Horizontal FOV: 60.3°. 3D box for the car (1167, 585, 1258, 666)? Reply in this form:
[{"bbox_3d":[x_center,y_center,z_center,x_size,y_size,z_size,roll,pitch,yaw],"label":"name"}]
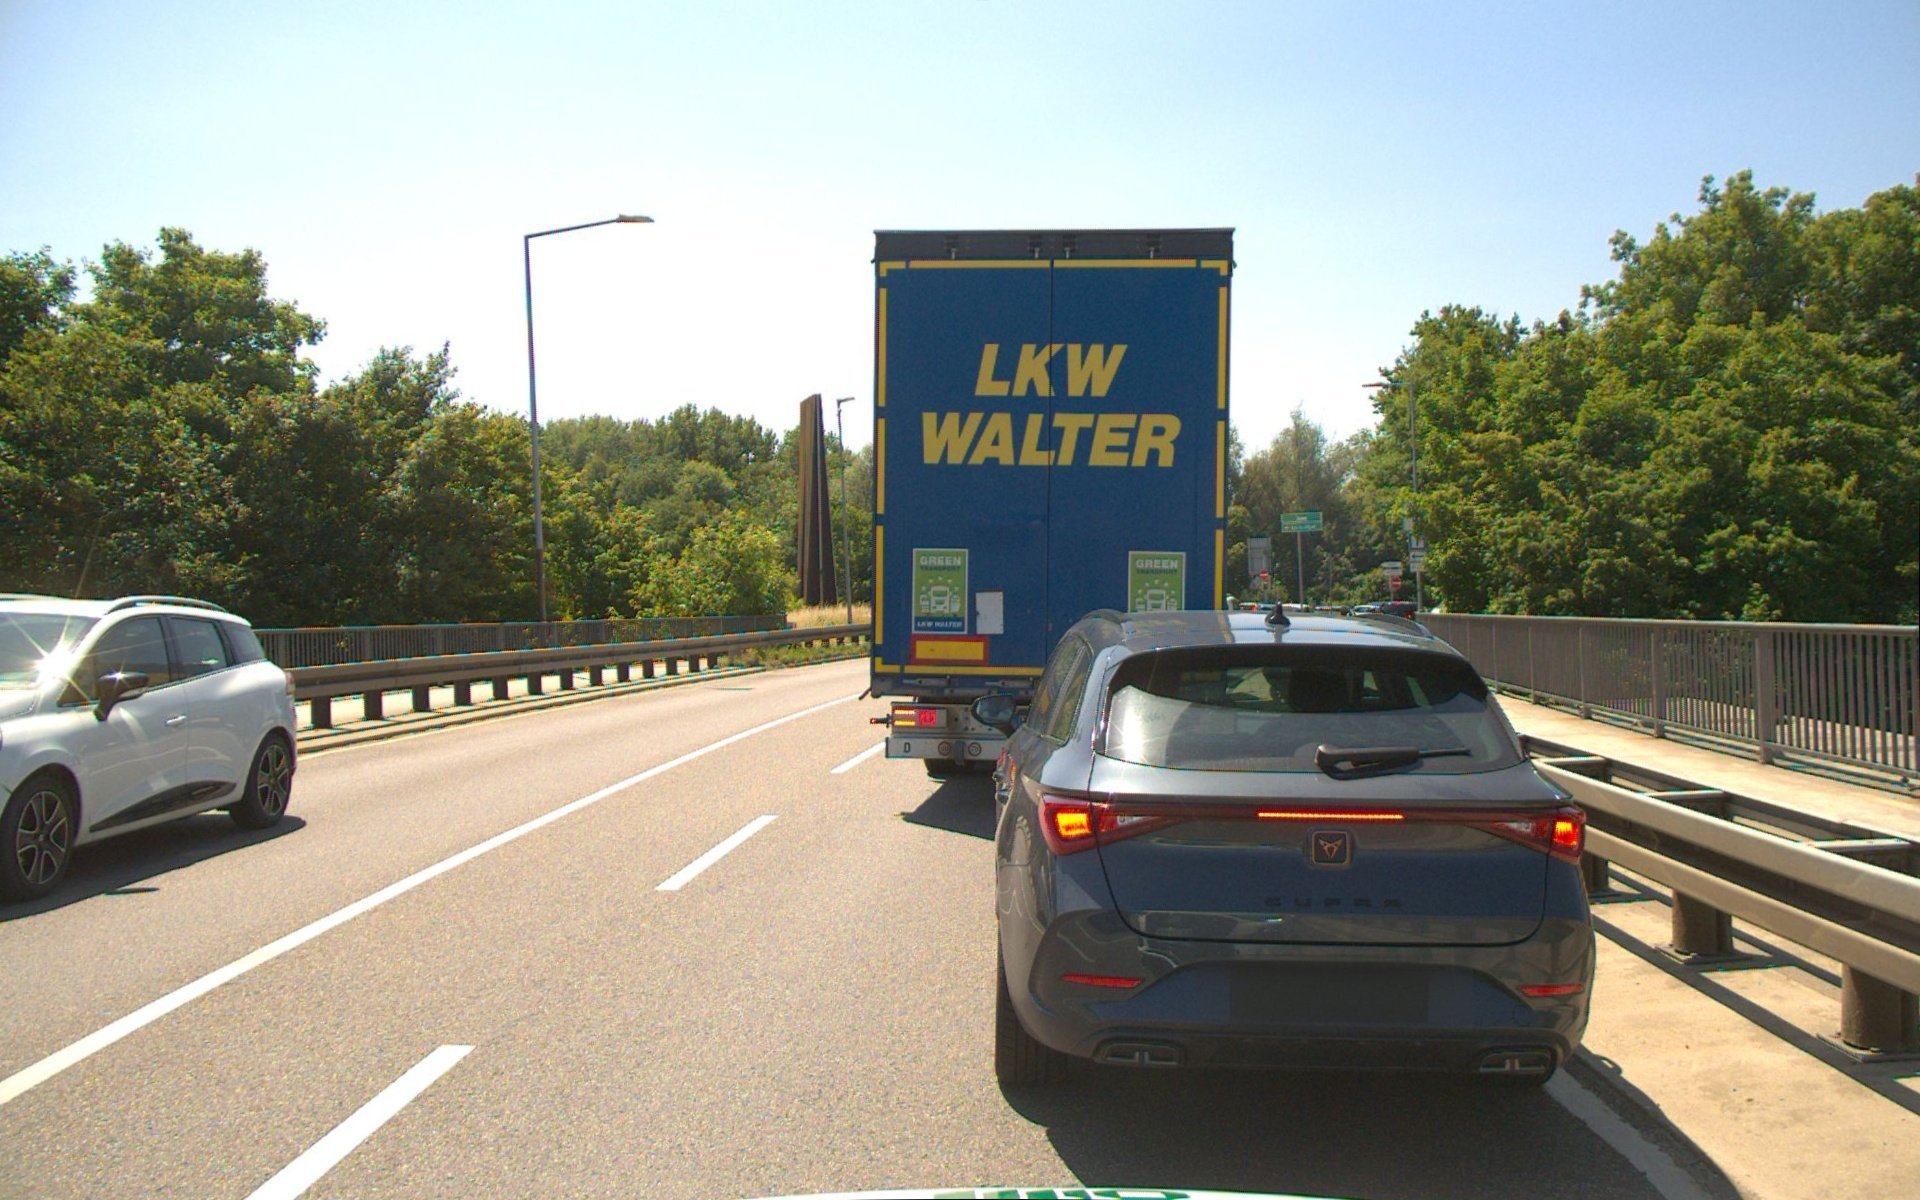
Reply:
[{"bbox_3d":[6.325,0.582,41.090,1.684,1.876,4.002,0,1,17],"label":"car"}]

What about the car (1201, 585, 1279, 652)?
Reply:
[{"bbox_3d":[8.070,0.482,47.422,1.684,1.834,4.002,0,0,17],"label":"car"}]

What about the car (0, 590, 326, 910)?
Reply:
[{"bbox_3d":[-5.157,0.694,9.243,1.566,1.474,4.056,0,0,2],"label":"car"}]

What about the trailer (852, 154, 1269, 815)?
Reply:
[{"bbox_3d":[1.412,-0.824,17.586,2.843,4.496,12.442,0,0,7],"label":"trailer"}]

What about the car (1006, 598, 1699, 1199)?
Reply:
[{"bbox_3d":[0.990,0.736,5.929,1.642,1.481,3.959,0,0,1],"label":"car"}]

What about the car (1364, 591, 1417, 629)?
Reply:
[{"bbox_3d":[21.003,0.484,80.670,1.653,1.791,3.995,0,-1,28],"label":"car"}]

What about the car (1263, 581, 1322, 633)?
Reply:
[{"bbox_3d":[12.425,0.224,61.682,1.685,1.876,4.002,0,0,18],"label":"car"}]

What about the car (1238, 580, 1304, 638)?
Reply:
[{"bbox_3d":[10.488,0.266,55.615,1.685,1.876,4.002,0,0,18],"label":"car"}]

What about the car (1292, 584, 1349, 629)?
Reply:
[{"bbox_3d":[14.931,0.296,68.371,1.651,1.791,3.999,0,-1,22],"label":"car"}]

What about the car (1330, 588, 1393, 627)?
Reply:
[{"bbox_3d":[18.175,0.355,74.675,1.954,1.603,3.996,2,-1,26],"label":"car"}]

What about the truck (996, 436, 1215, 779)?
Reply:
[{"bbox_3d":[2.307,0.073,25.076,2.843,4.496,6.560,0,0,7],"label":"truck"}]

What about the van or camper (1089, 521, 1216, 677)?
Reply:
[{"bbox_3d":[4.029,-0.038,33.669,2.108,2.865,6.393,0,0,11],"label":"van or camper"}]
